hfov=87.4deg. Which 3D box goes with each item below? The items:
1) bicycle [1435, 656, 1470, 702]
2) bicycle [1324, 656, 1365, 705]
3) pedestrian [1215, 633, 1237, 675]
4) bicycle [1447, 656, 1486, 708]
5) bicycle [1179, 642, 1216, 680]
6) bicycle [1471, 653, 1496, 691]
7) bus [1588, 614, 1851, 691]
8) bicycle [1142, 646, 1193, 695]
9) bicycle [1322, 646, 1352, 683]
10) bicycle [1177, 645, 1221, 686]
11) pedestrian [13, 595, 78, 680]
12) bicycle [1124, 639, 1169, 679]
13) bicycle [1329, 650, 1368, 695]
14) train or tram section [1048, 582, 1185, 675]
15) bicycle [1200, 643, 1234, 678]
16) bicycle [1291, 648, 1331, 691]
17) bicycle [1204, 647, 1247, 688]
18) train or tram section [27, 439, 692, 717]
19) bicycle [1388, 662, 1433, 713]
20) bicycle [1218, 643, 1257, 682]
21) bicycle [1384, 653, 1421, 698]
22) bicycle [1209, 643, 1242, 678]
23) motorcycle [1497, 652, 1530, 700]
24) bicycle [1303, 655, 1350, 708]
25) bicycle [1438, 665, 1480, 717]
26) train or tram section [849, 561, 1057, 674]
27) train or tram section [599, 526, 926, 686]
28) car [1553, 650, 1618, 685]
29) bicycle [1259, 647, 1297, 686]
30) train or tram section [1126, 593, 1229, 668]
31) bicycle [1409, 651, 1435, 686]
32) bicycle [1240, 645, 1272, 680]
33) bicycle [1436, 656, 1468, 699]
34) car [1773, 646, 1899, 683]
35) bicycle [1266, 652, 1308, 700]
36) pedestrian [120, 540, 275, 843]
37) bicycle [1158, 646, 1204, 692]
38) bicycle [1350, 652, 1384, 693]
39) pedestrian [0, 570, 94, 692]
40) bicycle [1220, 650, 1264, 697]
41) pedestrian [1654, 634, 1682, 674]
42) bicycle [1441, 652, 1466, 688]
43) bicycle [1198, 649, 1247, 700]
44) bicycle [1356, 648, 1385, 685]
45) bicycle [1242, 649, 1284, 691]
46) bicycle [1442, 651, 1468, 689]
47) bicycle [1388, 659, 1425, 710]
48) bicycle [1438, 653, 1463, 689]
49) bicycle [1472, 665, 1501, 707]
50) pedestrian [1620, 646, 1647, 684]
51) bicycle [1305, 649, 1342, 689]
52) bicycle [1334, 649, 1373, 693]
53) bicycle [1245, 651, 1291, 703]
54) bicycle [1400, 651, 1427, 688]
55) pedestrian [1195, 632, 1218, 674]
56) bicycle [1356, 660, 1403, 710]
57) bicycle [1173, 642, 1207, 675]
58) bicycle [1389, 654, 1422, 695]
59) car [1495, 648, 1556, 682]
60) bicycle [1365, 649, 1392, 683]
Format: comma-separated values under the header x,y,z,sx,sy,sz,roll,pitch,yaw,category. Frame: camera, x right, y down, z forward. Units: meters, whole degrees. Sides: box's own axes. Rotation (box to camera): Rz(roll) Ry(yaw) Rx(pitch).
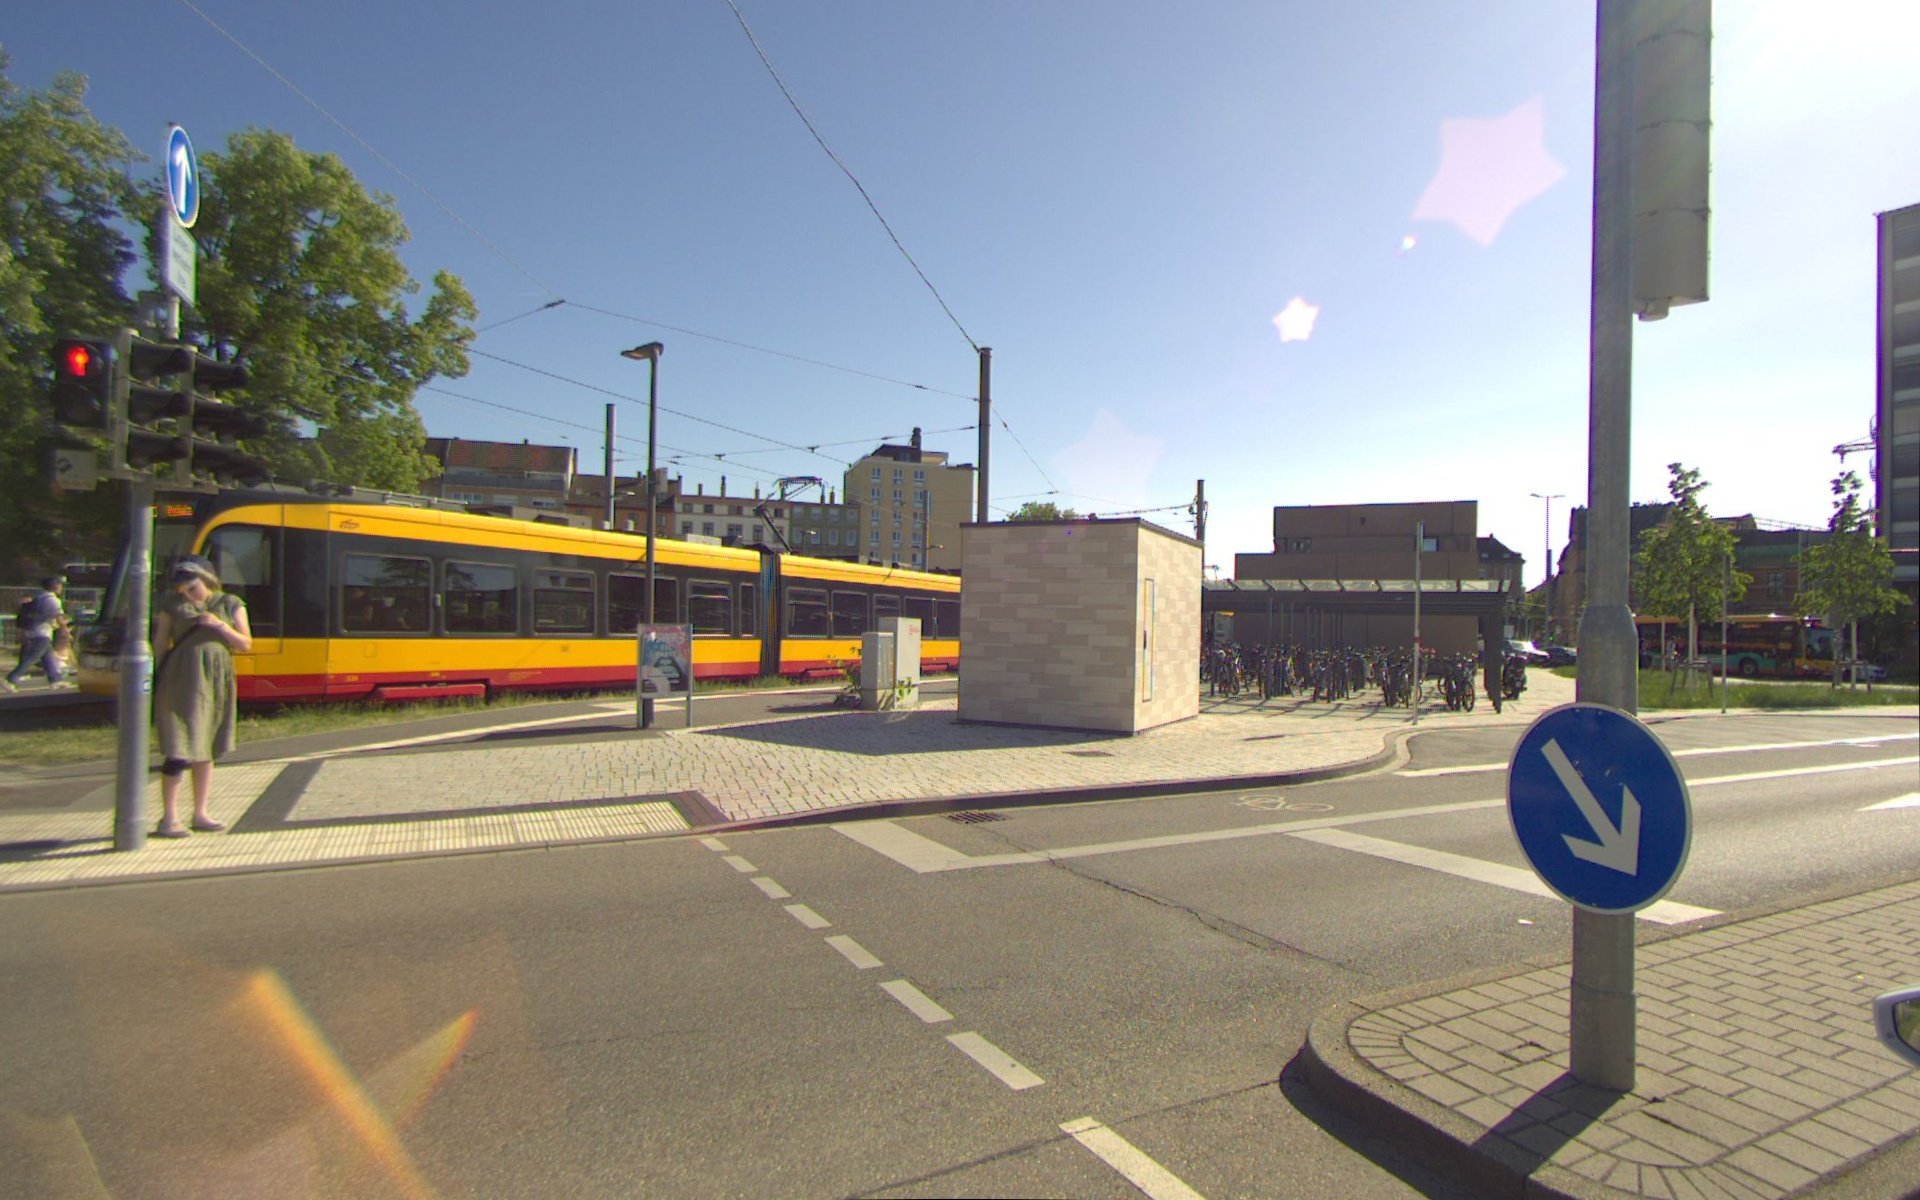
x,y,z,sx,sy,sz,roll,pitch,yaw,category
12.592,2.011,25.662,0.572,1.102,2.054,2,-2,32,bicycle
8.955,1.852,23.364,0.572,1.072,1.813,2,-2,30,bicycle
12.670,2.576,47.847,0.834,1.908,0.760,2,-2,25,pedestrian
11.284,1.807,22.358,0.572,1.065,1.968,2,-2,32,bicycle
7.406,1.887,31.263,0.557,1.108,2.026,2,-2,30,bicycle
15.879,2.177,30.462,0.572,1.102,1.869,2,-2,29,bicycle
39.084,2.596,52.698,2.830,3.440,12.428,3,-2,-9,bus
4.823,1.620,23.275,0.572,1.072,1.813,2,-2,30,bicycle
12.251,2.088,32.576,0.572,1.102,1.868,2,-2,30,bicycle
6.889,1.879,28.906,0.572,1.102,2.054,2,-2,32,bicycle
-19.658,0.800,21.590,0.657,1.791,0.799,1,-2,26,pedestrian
5.545,1.748,29.733,0.572,1.102,2.054,2,-2,32,bicycle
10.357,1.921,26.731,0.572,1.102,2.054,2,-2,32,bicycle
7.177,1.282,44.245,2.827,3.554,10.533,1,-2,26,train or tram section
8.652,2.033,33.722,0.557,1.108,2.026,2,-2,30,bicycle
9.603,1.902,27.454,0.572,1.102,2.054,2,-2,32,bicycle
7.550,1.903,28.507,0.572,1.102,2.054,2,-2,32,bicycle
-9.495,-0.103,18.175,2.774,3.554,10.470,1,-2,26,train or tram section
9.426,1.802,20.972,0.572,0.973,2.054,2,-2,32,bicycle
8.481,1.908,30.641,0.572,1.102,2.054,2,-2,32,bicycle
11.650,1.982,26.400,0.572,1.102,2.054,2,-2,32,bicycle
9.023,2.059,34.141,0.572,1.102,1.868,2,-2,30,bicycle
14.661,2.001,26.651,0.542,1.192,1.921,2,-2,23,motorcycle
7.921,1.741,21.688,0.572,1.072,1.813,2,-2,32,bicycle
10.237,1.835,20.575,0.572,0.973,2.054,2,-2,32,bicycle
0.193,0.743,37.382,2.773,3.554,11.198,2,-1,27,train or tram section
-4.773,0.297,27.653,2.773,3.554,10.599,2,-1,27,train or tram section
41.077,4.405,66.058,1.971,2.040,4.003,3,-2,4,car
9.561,1.984,30.134,0.572,1.102,2.054,2,-2,32,bicycle
11.844,1.679,53.718,2.827,3.554,10.533,1,-2,26,train or tram section
15.265,2.258,33.171,0.572,1.102,1.868,2,-2,30,bicycle
9.940,2.096,33.713,0.572,1.102,1.868,2,-2,30,bicycle
13.571,2.130,27.707,0.572,1.102,2.012,2,-2,32,bicycle
42.907,3.110,49.360,1.935,1.541,4.403,3,-2,-10,car
7.844,1.811,24.041,0.572,1.072,1.813,2,-2,30,bicycle
-5.160,0.559,6.792,0.758,1.875,0.891,0,1,-42,pedestrian
5.535,1.717,25.104,0.572,1.072,1.813,2,-2,30,bicycle
11.763,2.091,28.983,0.572,1.102,1.896,2,-2,32,bicycle
-14.585,0.514,15.938,0.747,1.856,1.018,-2,-4,28,pedestrian
6.873,1.769,24.394,0.572,1.072,1.813,2,-2,30,bicycle
32.119,2.446,45.555,0.774,1.764,0.625,3,-1,-12,pedestrian
16.091,2.266,32.709,0.572,1.102,1.868,2,-2,30,bicycle
5.954,1.665,22.721,0.572,1.072,1.813,2,-2,30,bicycle
13.115,2.119,32.037,0.572,1.102,1.868,2,-2,30,bicycle
8.453,1.935,27.939,0.572,1.102,2.054,2,-2,32,bicycle
15.250,2.156,30.921,0.572,1.102,1.869,2,-2,29,bicycle
10.187,1.905,22.880,0.572,1.072,1.813,2,-2,30,bicycle
15.907,2.290,32.554,0.572,1.102,1.869,2,-2,29,bicycle
13.289,2.154,25.319,0.572,0.973,2.056,2,-2,29,bicycle
32.058,3.081,47.808,0.774,1.764,0.654,3,-1,-12,pedestrian
10.673,2.024,29.438,0.572,1.102,2.054,2,-2,32,bicycle
10.574,1.891,26.949,0.572,1.102,2.054,2,-2,32,bicycle
6.868,1.704,22.359,0.572,1.072,1.813,2,-2,30,bicycle
14.208,2.162,31.455,0.572,1.102,1.869,2,-2,29,bicycle
11.423,2.466,46.592,0.834,1.908,0.760,2,-2,25,pedestrian
8.916,1.784,21.306,0.572,0.973,2.054,2,-2,32,bicycle
7.992,2.024,34.849,0.572,1.102,1.868,2,-2,30,bicycle
12.591,2.096,28.367,0.572,1.102,1.925,2,-2,32,bicycle
37.604,4.305,66.937,1.971,2.040,4.003,3,-2,4,car
14.068,2.209,33.726,0.572,1.102,1.868,2,-2,30,bicycle
